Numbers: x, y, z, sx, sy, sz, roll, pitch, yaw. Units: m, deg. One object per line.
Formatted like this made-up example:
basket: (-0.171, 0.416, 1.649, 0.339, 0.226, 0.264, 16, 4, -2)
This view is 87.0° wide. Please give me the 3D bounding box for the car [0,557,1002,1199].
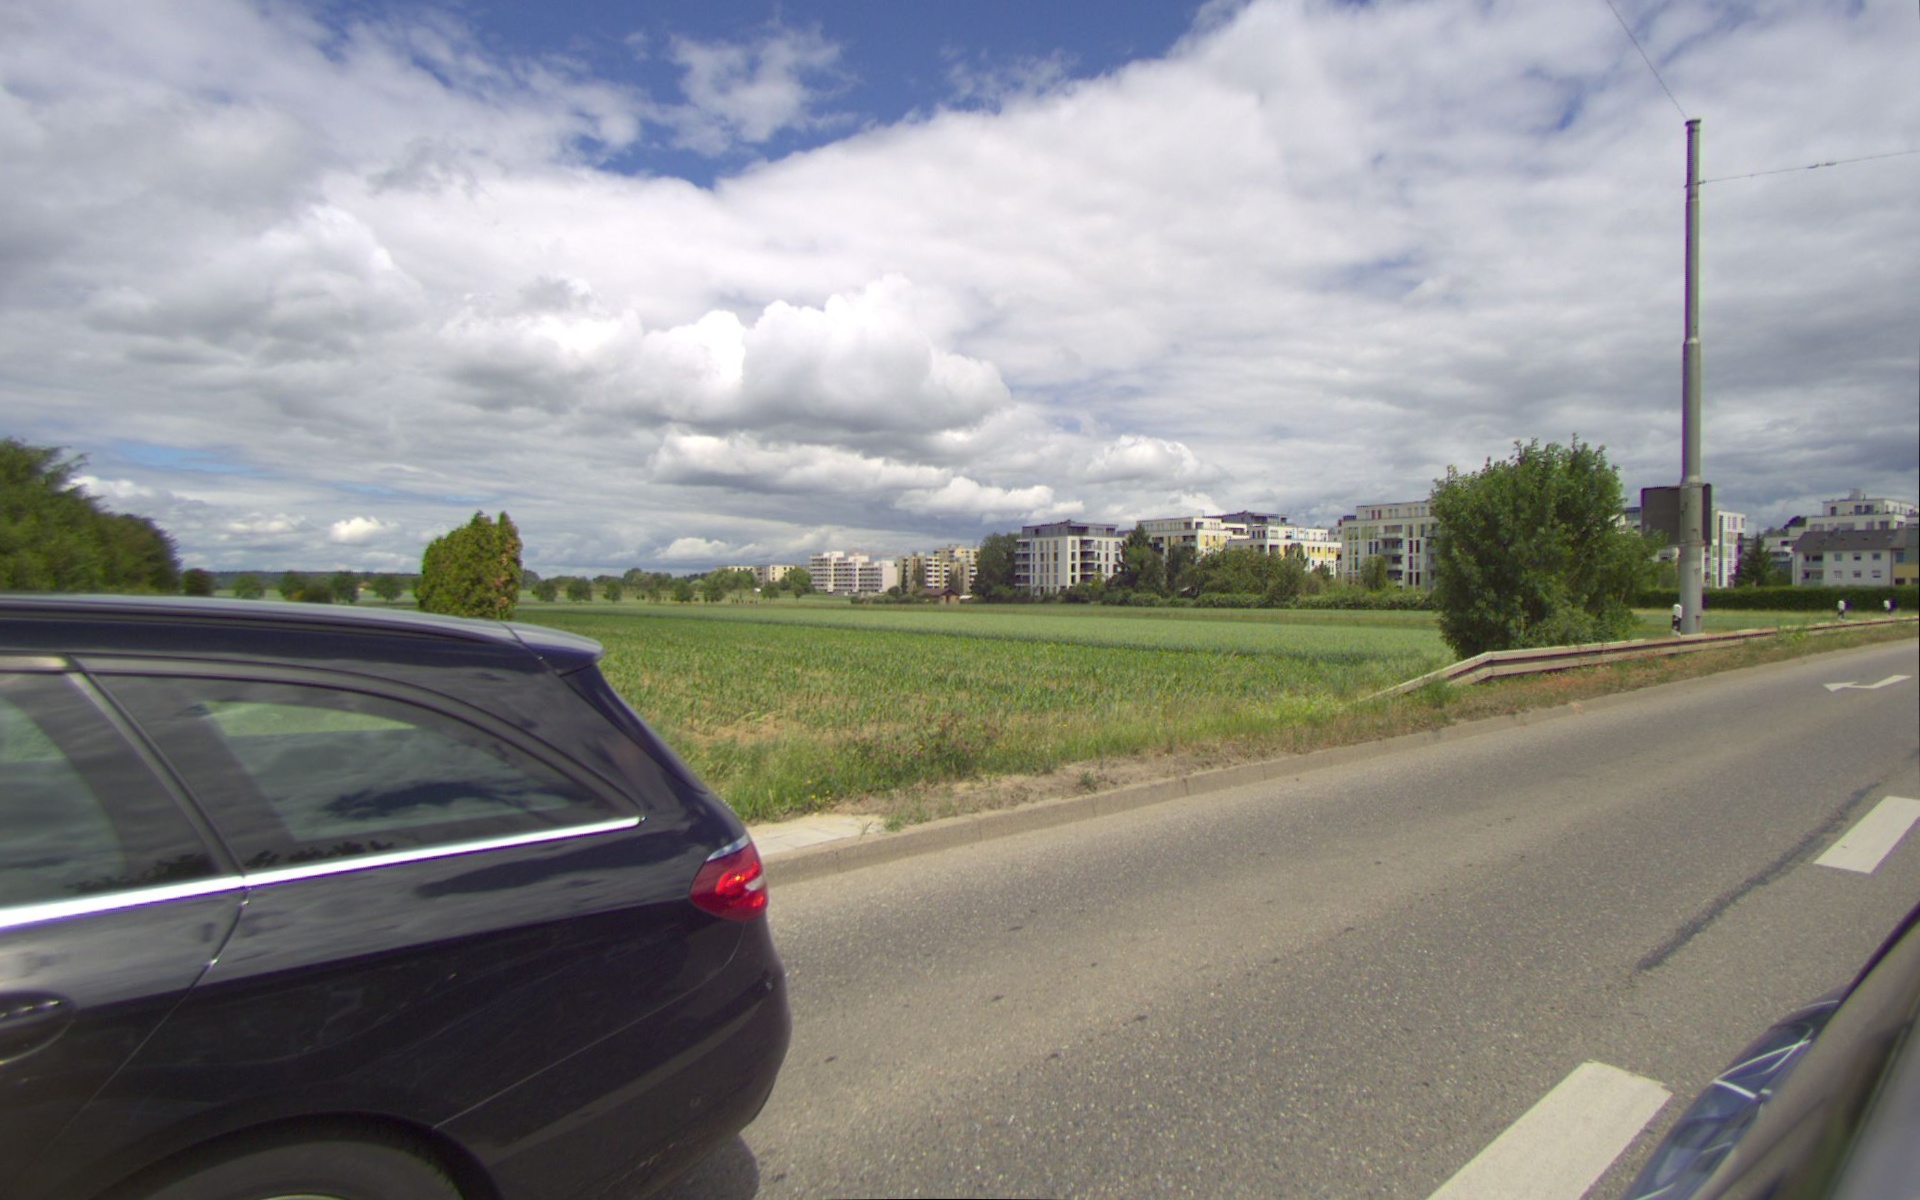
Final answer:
car: (-2.435, 0.669, 1.418, 5.109, 1.459, 1.876, 0, 1, -41)
